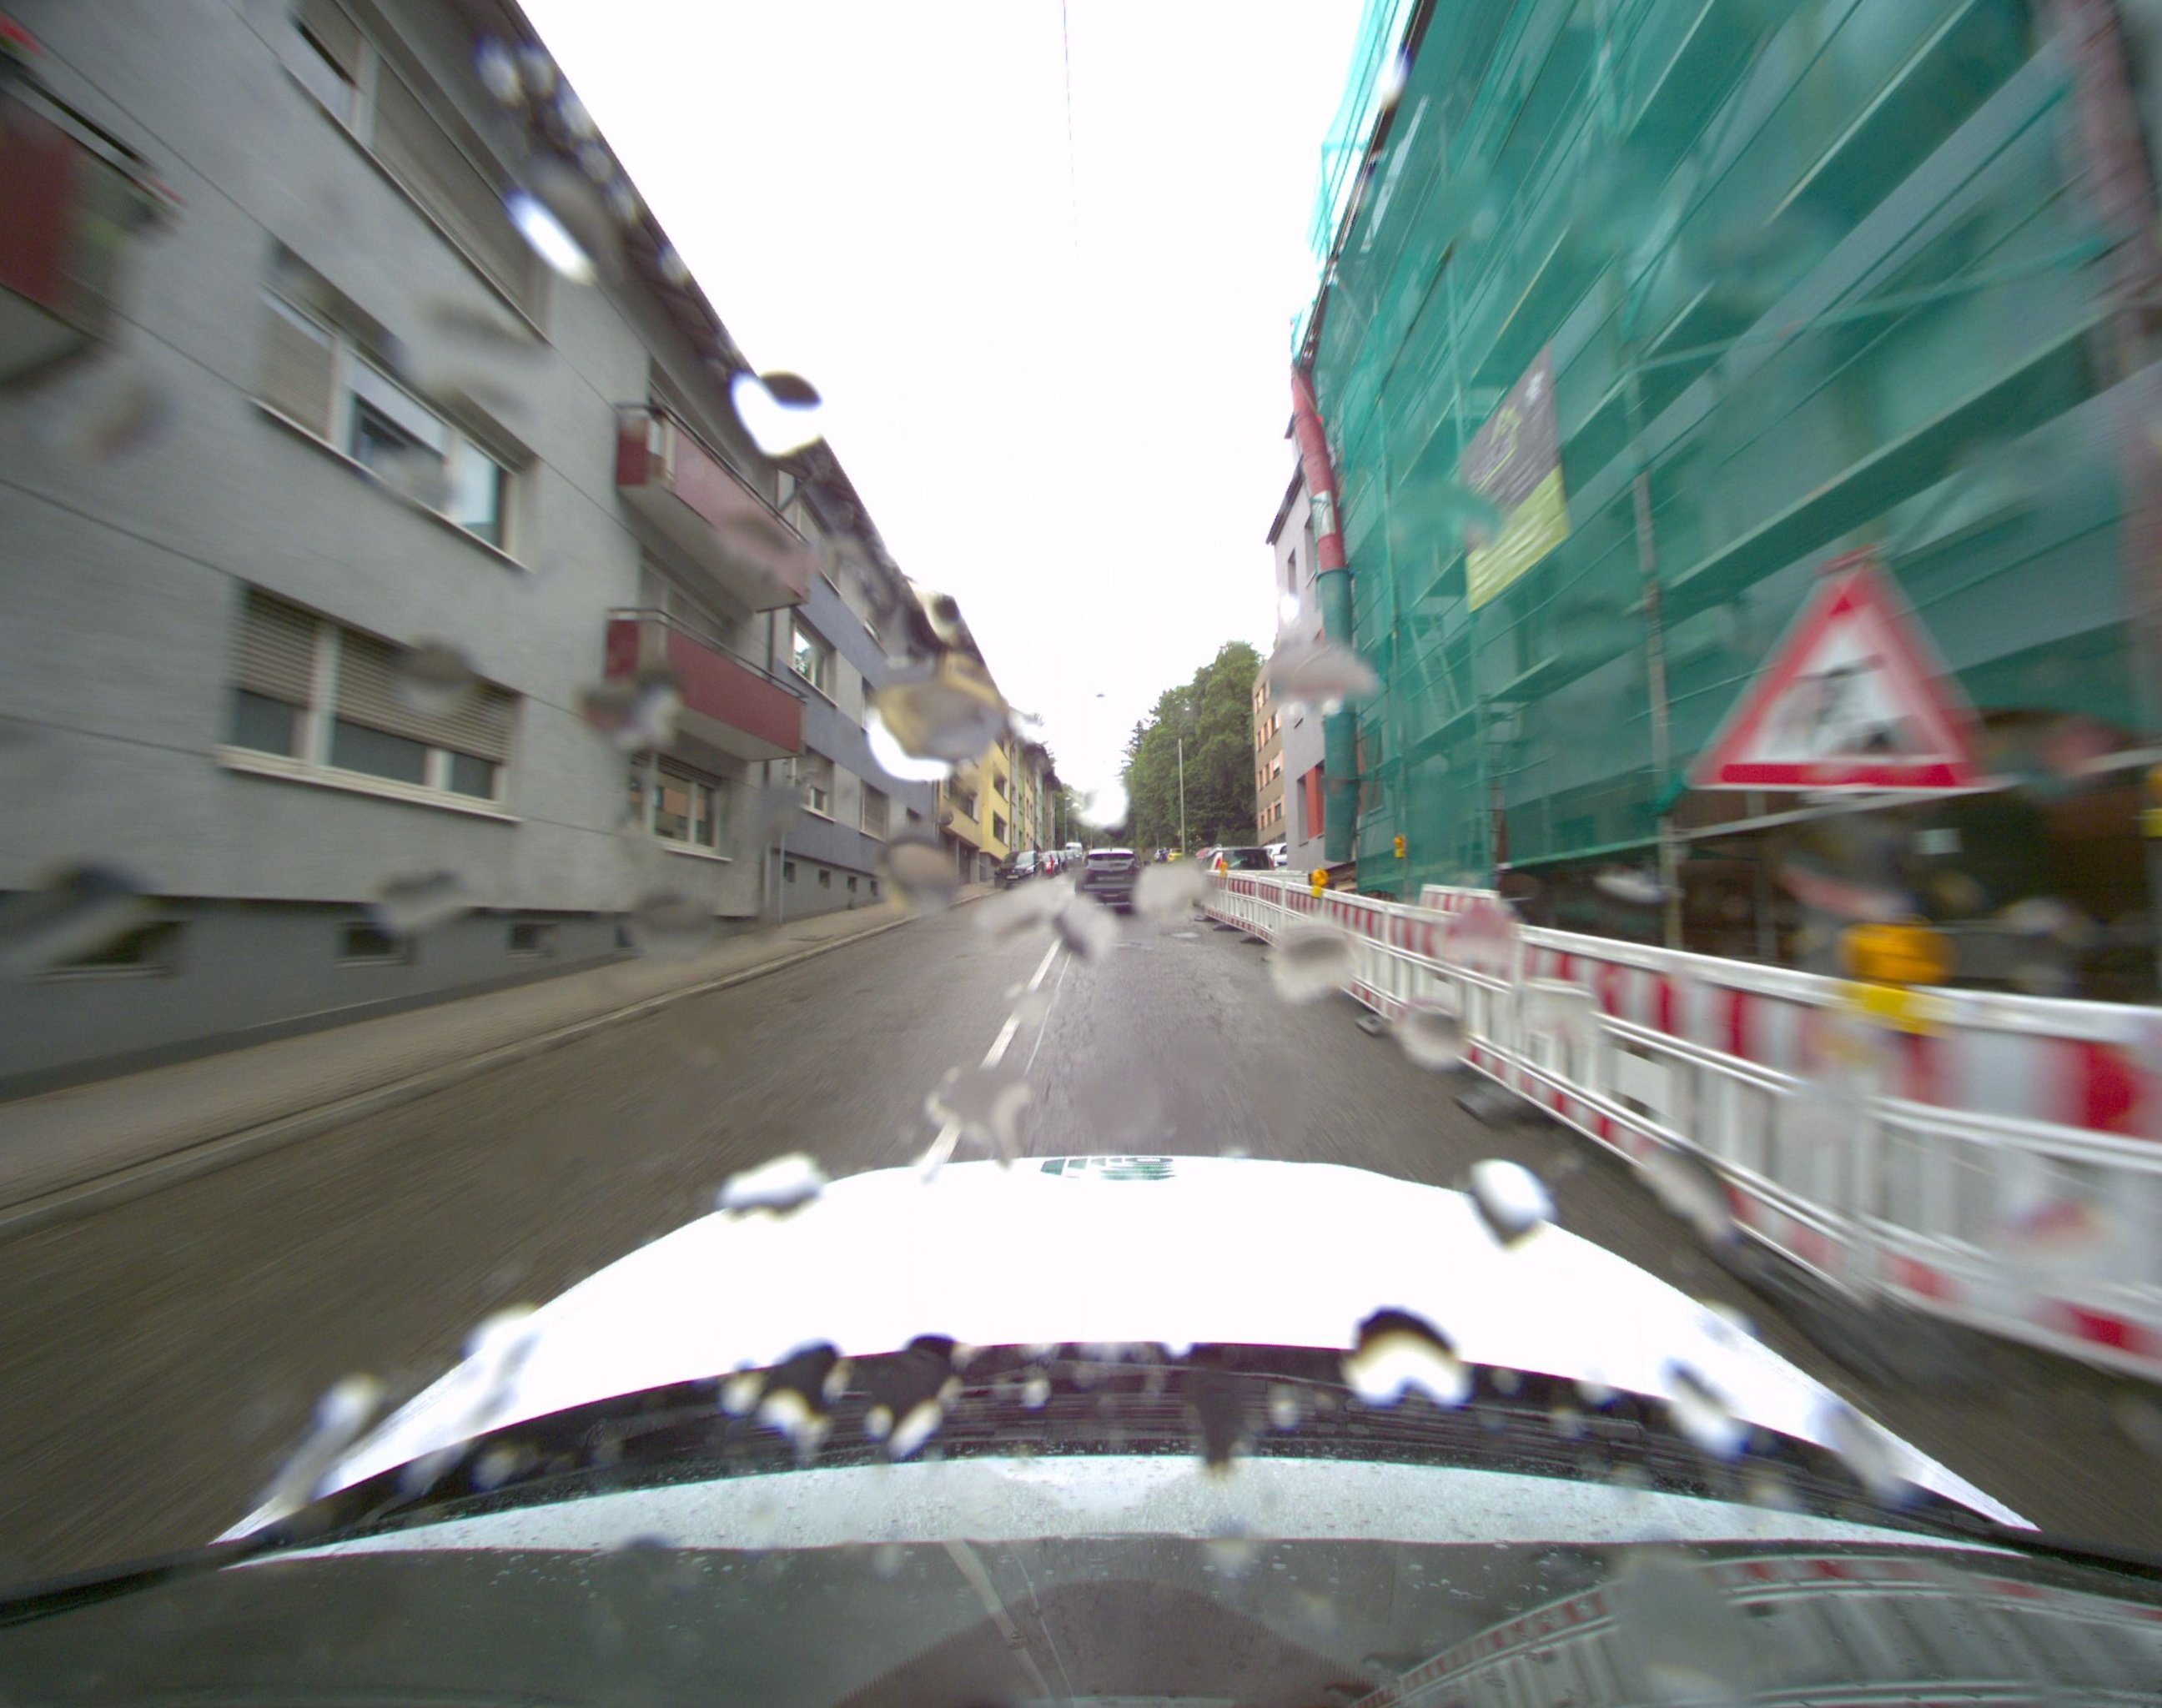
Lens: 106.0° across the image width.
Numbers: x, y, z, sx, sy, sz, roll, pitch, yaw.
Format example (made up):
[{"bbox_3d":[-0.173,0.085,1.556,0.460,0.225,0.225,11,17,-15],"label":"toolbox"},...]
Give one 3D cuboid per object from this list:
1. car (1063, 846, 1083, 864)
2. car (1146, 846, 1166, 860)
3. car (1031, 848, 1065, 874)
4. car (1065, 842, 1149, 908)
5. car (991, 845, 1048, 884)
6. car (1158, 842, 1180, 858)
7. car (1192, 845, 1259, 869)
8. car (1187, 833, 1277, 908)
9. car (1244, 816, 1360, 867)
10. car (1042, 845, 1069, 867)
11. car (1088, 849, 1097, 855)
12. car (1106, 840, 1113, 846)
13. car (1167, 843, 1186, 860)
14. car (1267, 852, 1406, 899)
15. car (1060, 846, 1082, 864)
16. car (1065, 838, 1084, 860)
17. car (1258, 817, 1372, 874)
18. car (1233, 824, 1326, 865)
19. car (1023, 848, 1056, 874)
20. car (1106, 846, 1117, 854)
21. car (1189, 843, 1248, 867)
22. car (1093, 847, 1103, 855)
[{"bbox_3d":[-0.835,0.061,86.171,1.983,1.755,4.480,-1,1,1],"label":"car"},{"bbox_3d":[8.784,-0.131,95.466,1.805,1.530,4.416,-3,0,-1],"label":"car"},{"bbox_3d":[-2.201,0.427,55.339,1.987,1.585,4.472,-1,1,1],"label":"car"},{"bbox_3d":[0.679,0.475,21.431,1.986,1.559,4.002,0,1,2],"label":"car"},{"bbox_3d":[-2.820,0.445,38.243,1.985,1.650,4.447,-1,1,4],"label":"car"},{"bbox_3d":[9.117,-0.382,84.699,1.804,1.530,4.418,-3,0,1],"label":"car"},{"bbox_3d":[9.603,0.181,54.320,4.185,1.496,1.759,1,0,-1],"label":"car"},{"bbox_3d":[3.800,0.346,21.101,1.634,1.762,4.001,0,1,0],"label":"car"},{"bbox_3d":[9.407,-0.510,34.856,4.328,1.529,1.877,-8,0,0],"label":"car"},{"bbox_3d":[-1.950,0.100,62.632,1.847,1.585,4.305,-1,1,1],"label":"car"},{"bbox_3d":[2.768,-0.514,197.695,2.067,1.559,4.000,-1,0,1],"label":"car"},{"bbox_3d":[8.408,-3.086,237.797,1.985,1.559,4.004,-2,-1,4],"label":"car"},{"bbox_3d":[9.084,-0.247,77.731,1.625,1.530,4.005,0,0,4],"label":"car"},{"bbox_3d":[8.839,0.726,28.446,4.254,1.466,1.894,-1,0,0],"label":"car"},{"bbox_3d":[-0.944,0.083,80.180,1.983,1.585,4.305,-1,1,1],"label":"car"},{"bbox_3d":[-0.686,-0.597,93.344,1.983,2.474,5.785,-1,1,1],"label":"car"},{"bbox_3d":[9.116,-0.346,31.934,3.814,1.702,1.728,-7,0,0],"label":"car"},{"bbox_3d":[9.611,-0.467,39.565,3.952,1.529,1.691,-7,0,-3],"label":"car"},{"bbox_3d":[-2.429,0.385,48.542,1.722,1.472,3.491,-1,1,1],"label":"car"},{"bbox_3d":[6.669,-0.839,176.798,2.069,1.559,3.998,-1,0,-2],"label":"car"},{"bbox_3d":[10.490,0.060,62.206,4.187,1.734,1.758,1,0,-3],"label":"car"},{"bbox_3d":[3.676,-0.667,173.111,2.068,1.559,4.000,-1,0,0],"label":"car"}]
